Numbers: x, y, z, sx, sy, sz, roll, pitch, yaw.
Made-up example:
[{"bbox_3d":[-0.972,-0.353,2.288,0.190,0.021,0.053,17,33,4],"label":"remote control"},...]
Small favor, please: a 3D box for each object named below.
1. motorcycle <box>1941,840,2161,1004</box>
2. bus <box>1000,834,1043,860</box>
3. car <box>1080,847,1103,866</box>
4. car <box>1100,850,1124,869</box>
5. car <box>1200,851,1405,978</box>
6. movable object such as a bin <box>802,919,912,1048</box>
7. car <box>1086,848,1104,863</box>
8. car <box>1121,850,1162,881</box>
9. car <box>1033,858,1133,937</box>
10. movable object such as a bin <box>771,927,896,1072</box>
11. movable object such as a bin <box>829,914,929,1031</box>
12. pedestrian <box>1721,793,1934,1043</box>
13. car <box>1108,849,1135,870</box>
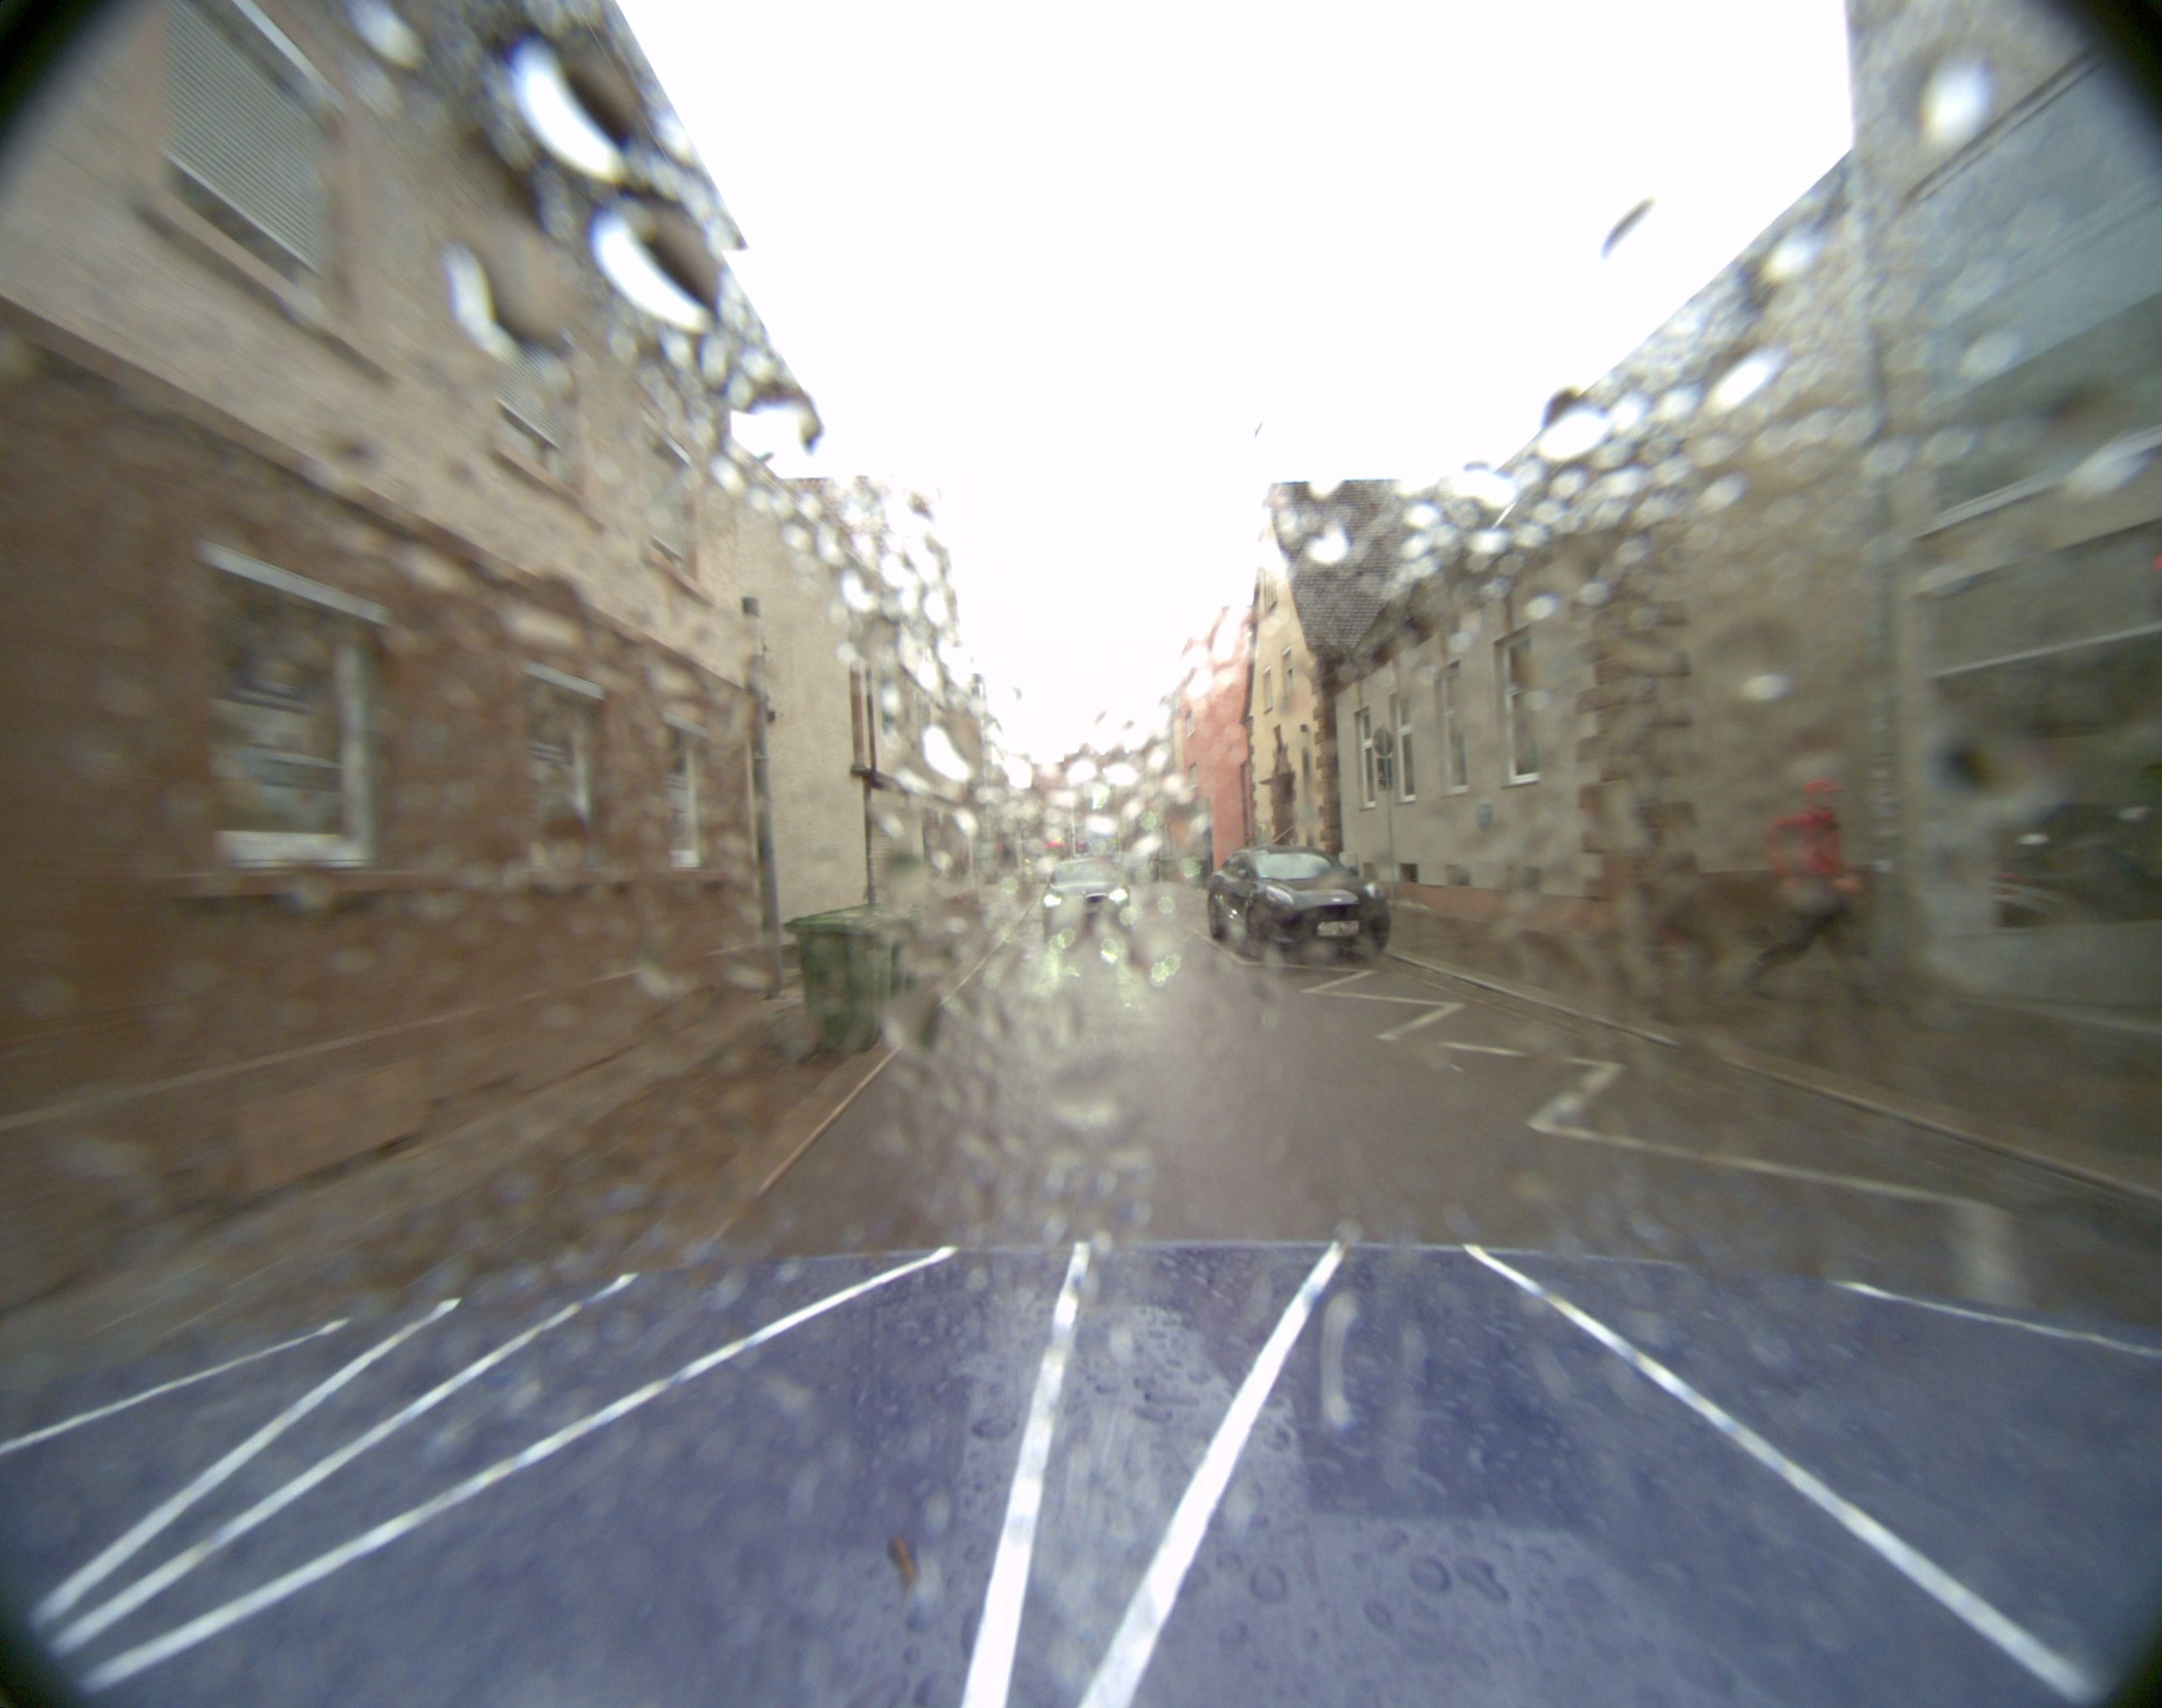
[{"bbox_3d":[8.369,0.553,6.456,1.510,1.283,0.536,-2,1,0],"label":"motorcycle"},{"bbox_3d":[-7.741,-0.872,97.954,2.616,3.175,7.359,-3,1,-30],"label":"bus"},{"bbox_3d":[0.946,0.203,69.756,1.999,1.587,3.999,-2,1,-1],"label":"car"},{"bbox_3d":[2.364,0.407,58.730,1.632,1.359,3.488,-3,0,0],"label":"car"},{"bbox_3d":[3.090,0.746,11.473,1.740,1.516,3.929,-2,1,-3],"label":"car"},{"bbox_3d":[-1.980,1.130,6.794,0.734,1.016,0.638,-3,0,2],"label":"movable object such as a bin"},{"bbox_3d":[1.320,0.116,74.112,1.632,1.359,3.488,-3,0,0],"label":"car"},{"bbox_3d":[2.865,0.541,36.761,1.632,1.359,3.488,-3,0,0],"label":"car"},{"bbox_3d":[0.114,0.900,17.712,1.947,1.394,4.420,-4,1,2],"label":"car"},{"bbox_3d":[-1.971,1.145,6.130,0.734,1.016,0.638,-3,0,2],"label":"movable object such as a bin"},{"bbox_3d":[-1.960,1.140,7.449,0.734,1.016,0.638,-3,0,2],"label":"movable object such as a bin"},{"bbox_3d":[5.835,0.456,5.987,0.552,1.766,1.007,-4,2,-21],"label":"pedestrian"},{"bbox_3d":[2.819,0.362,53.788,1.632,1.359,3.488,-3,0,0],"label":"car"}]
